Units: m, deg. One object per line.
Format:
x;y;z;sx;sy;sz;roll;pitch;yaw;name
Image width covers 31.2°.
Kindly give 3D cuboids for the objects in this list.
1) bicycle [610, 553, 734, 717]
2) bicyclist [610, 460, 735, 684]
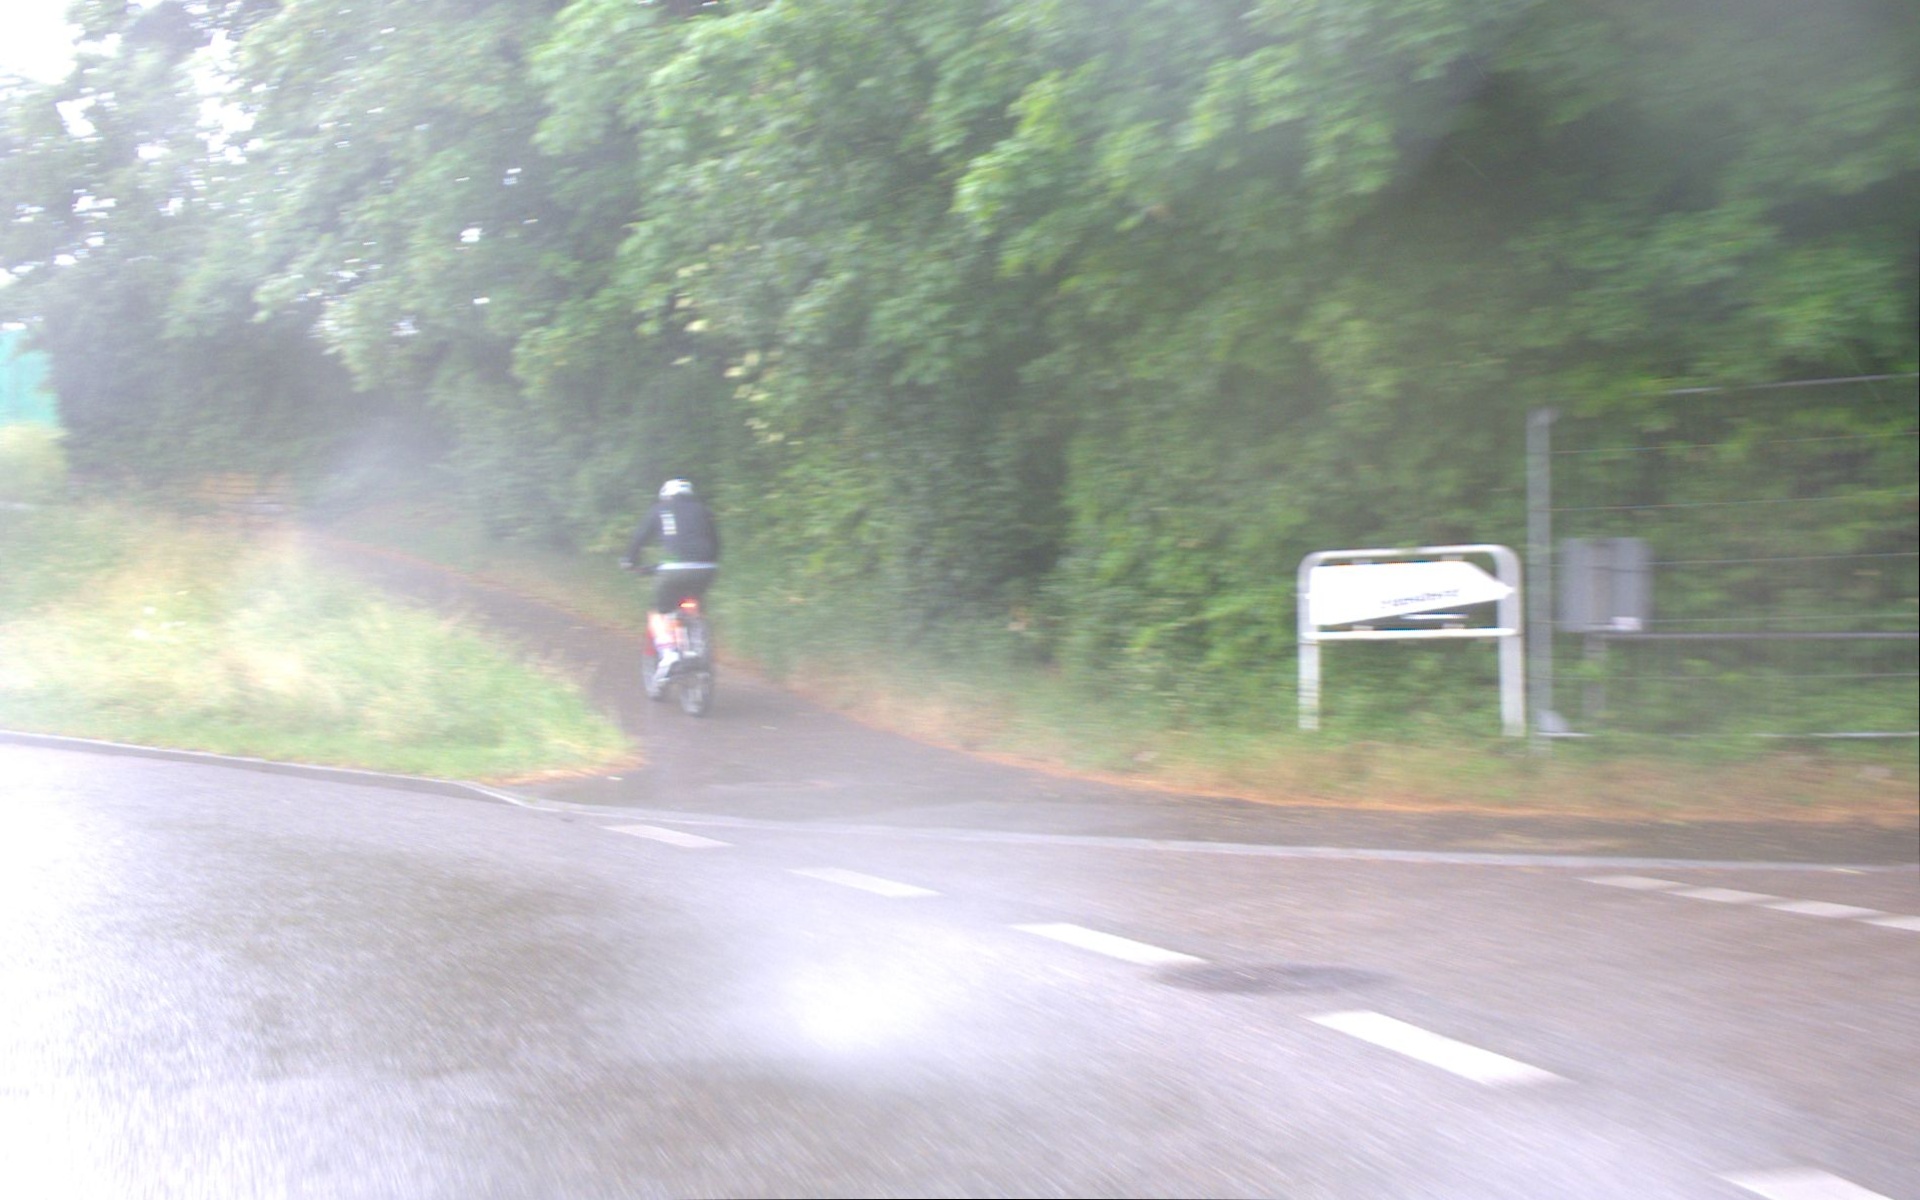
-2.184;0.242;25.904;0.527;1.081;1.621;0;5;-19;bicycle
-2.170;-0.222;25.867;0.720;1.609;0.906;0;5;-17;bicyclist
